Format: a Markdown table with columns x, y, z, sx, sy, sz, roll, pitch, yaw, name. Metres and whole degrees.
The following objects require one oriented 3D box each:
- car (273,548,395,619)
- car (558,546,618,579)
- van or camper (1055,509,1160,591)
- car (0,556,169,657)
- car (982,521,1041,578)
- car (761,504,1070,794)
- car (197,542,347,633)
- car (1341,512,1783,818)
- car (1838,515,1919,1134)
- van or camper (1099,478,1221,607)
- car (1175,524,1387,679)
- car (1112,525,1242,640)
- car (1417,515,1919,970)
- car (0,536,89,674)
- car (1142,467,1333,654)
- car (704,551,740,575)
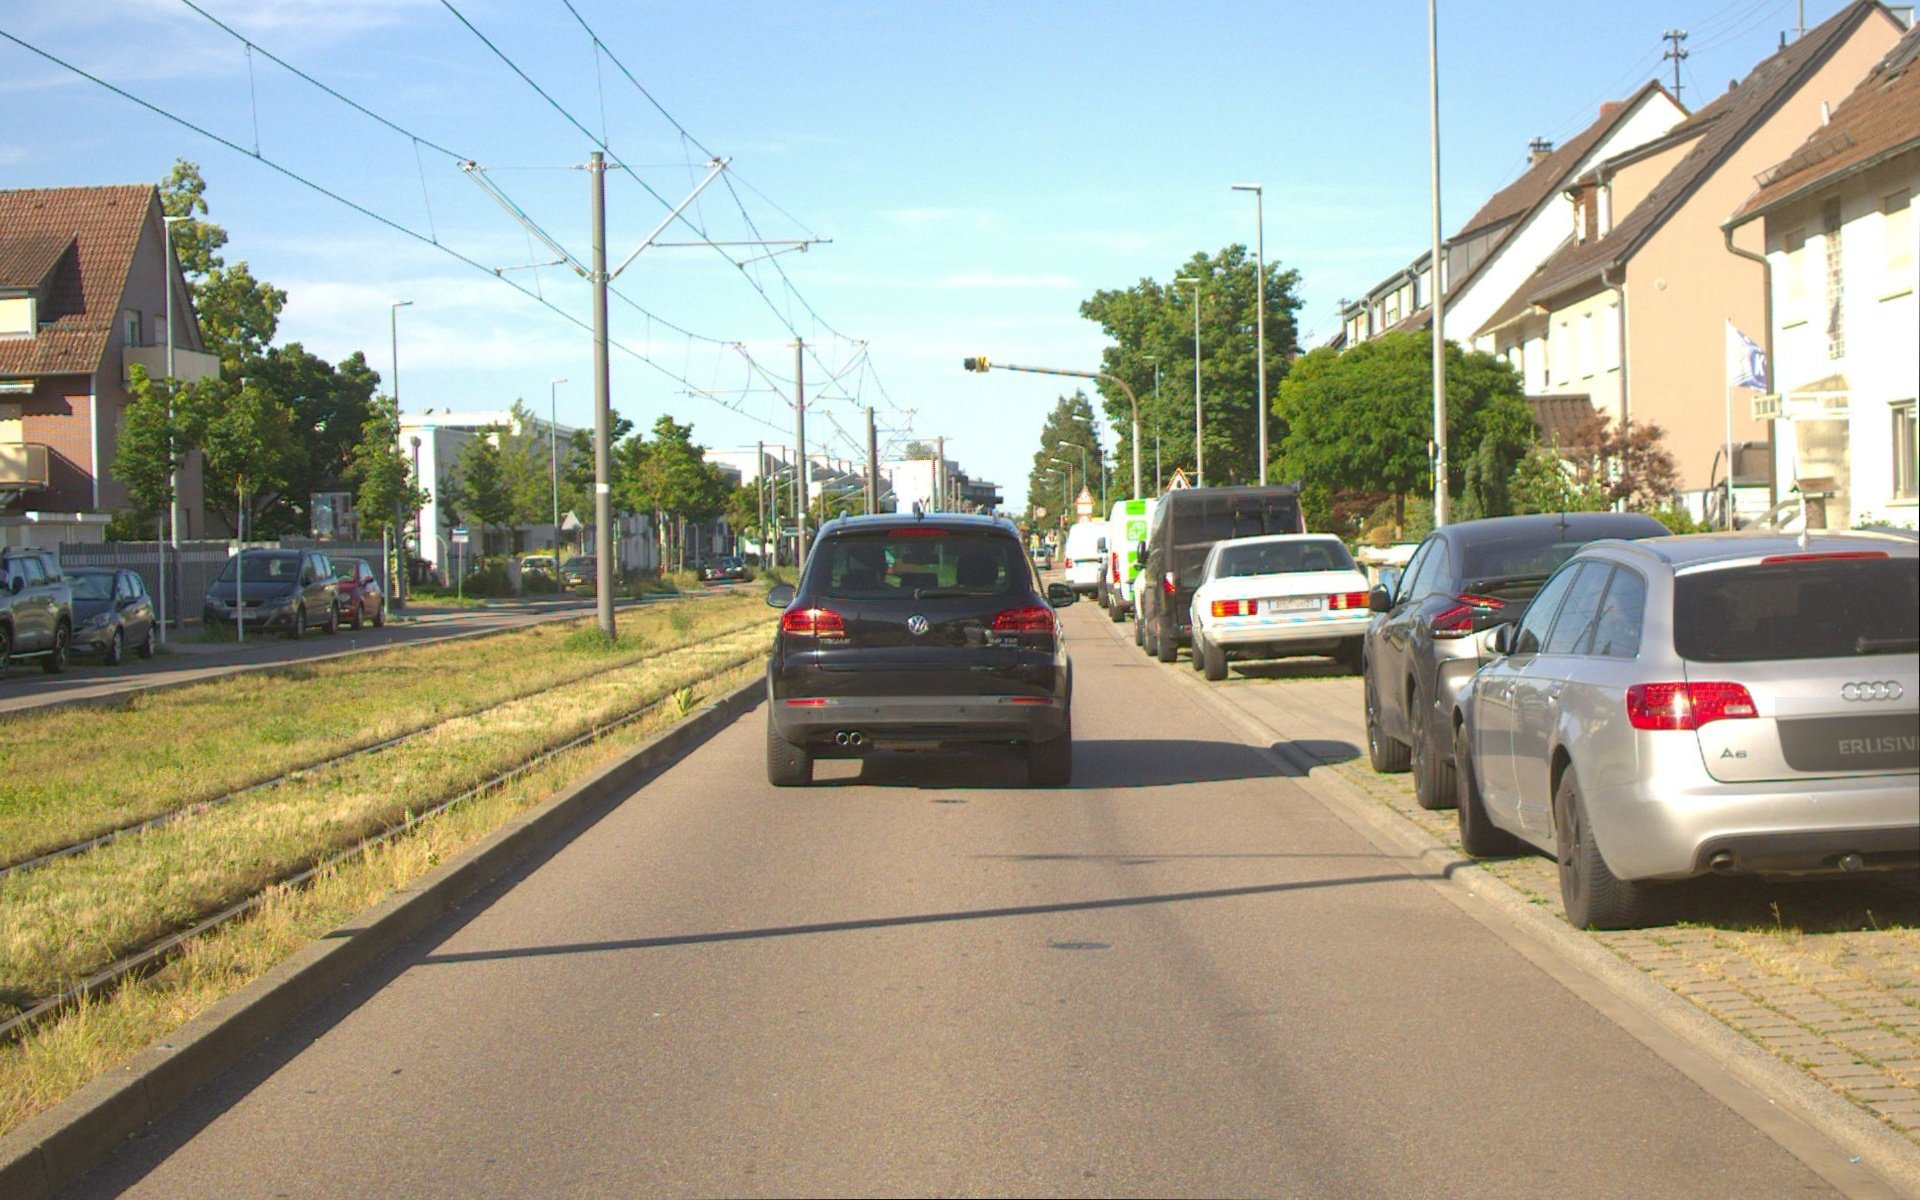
| x | y | z | sx | sy | sz | roll | pitch | yaw | name |
| --- | --- | --- | --- | --- | --- | --- | --- | --- | --- |
| -13.155 | -0.372 | 72.491 | 1.695 | 1.400 | 4.078 | -1 | 1 | 2 | car |
| -16.495 | -1.656 | 152.581 | 1.811 | 1.456 | 4.317 | 0 | 1 | 5 | car |
| 3.762 | -1.281 | 86.666 | 2.028 | 1.949 | 5.293 | -1 | 1 | 9 | van or camper |
| -13.589 | 0.073 | 53.544 | 1.676 | 1.485 | 4.050 | 1 | 1 | -1 | car |
| 1.683 | -1.677 | 113.848 | 1.627 | 1.822 | 4.131 | -2 | 1 | -3 | car |
| -0.288 | 0.260 | 21.863 | 1.775 | 1.664 | 4.000 | 0 | 1 | -1 | car |
| -13.270 | -0.271 | 66.573 | 1.819 | 1.678 | 4.846 | 1 | 1 | 1 | car |
| 3.290 | 0.277 | 19.656 | 1.777 | 1.493 | 4.728 | -2 | 1 | 1 | car |
| 3.284 | 0.559 | 6.761 | 1.805 | 1.553 | 4.927 | -2 | 1 | 0 | car |
| 3.779 | -1.083 | 65.863 | 1.993 | 2.263 | 6.305 | -3 | 1 | 1 | van or camper |
| 3.341 | -0.047 | 36.701 | 1.853 | 1.439 | 5.613 | -3 | 1 | 2 | car |
| 3.310 | -0.285 | 53.083 | 1.725 | 1.640 | 4.319 | -2 | 1 | 1 | car |
| 3.092 | 0.430 | 14.078 | 1.748 | 1.442 | 4.699 | -2 | 2 | 0 | car |
| -13.575 | 0.031 | 47.513 | 1.745 | 1.816 | 4.841 | 1 | 1 | 1 | car |
| 3.428 | -0.507 | 43.414 | 1.960 | 2.137 | 5.335 | -2 | 1 | 1 | car |
| -14.937 | -2.339 | 216.007 | 1.688 | 1.384 | 4.387 | -3 | 1 | 3 | car |
